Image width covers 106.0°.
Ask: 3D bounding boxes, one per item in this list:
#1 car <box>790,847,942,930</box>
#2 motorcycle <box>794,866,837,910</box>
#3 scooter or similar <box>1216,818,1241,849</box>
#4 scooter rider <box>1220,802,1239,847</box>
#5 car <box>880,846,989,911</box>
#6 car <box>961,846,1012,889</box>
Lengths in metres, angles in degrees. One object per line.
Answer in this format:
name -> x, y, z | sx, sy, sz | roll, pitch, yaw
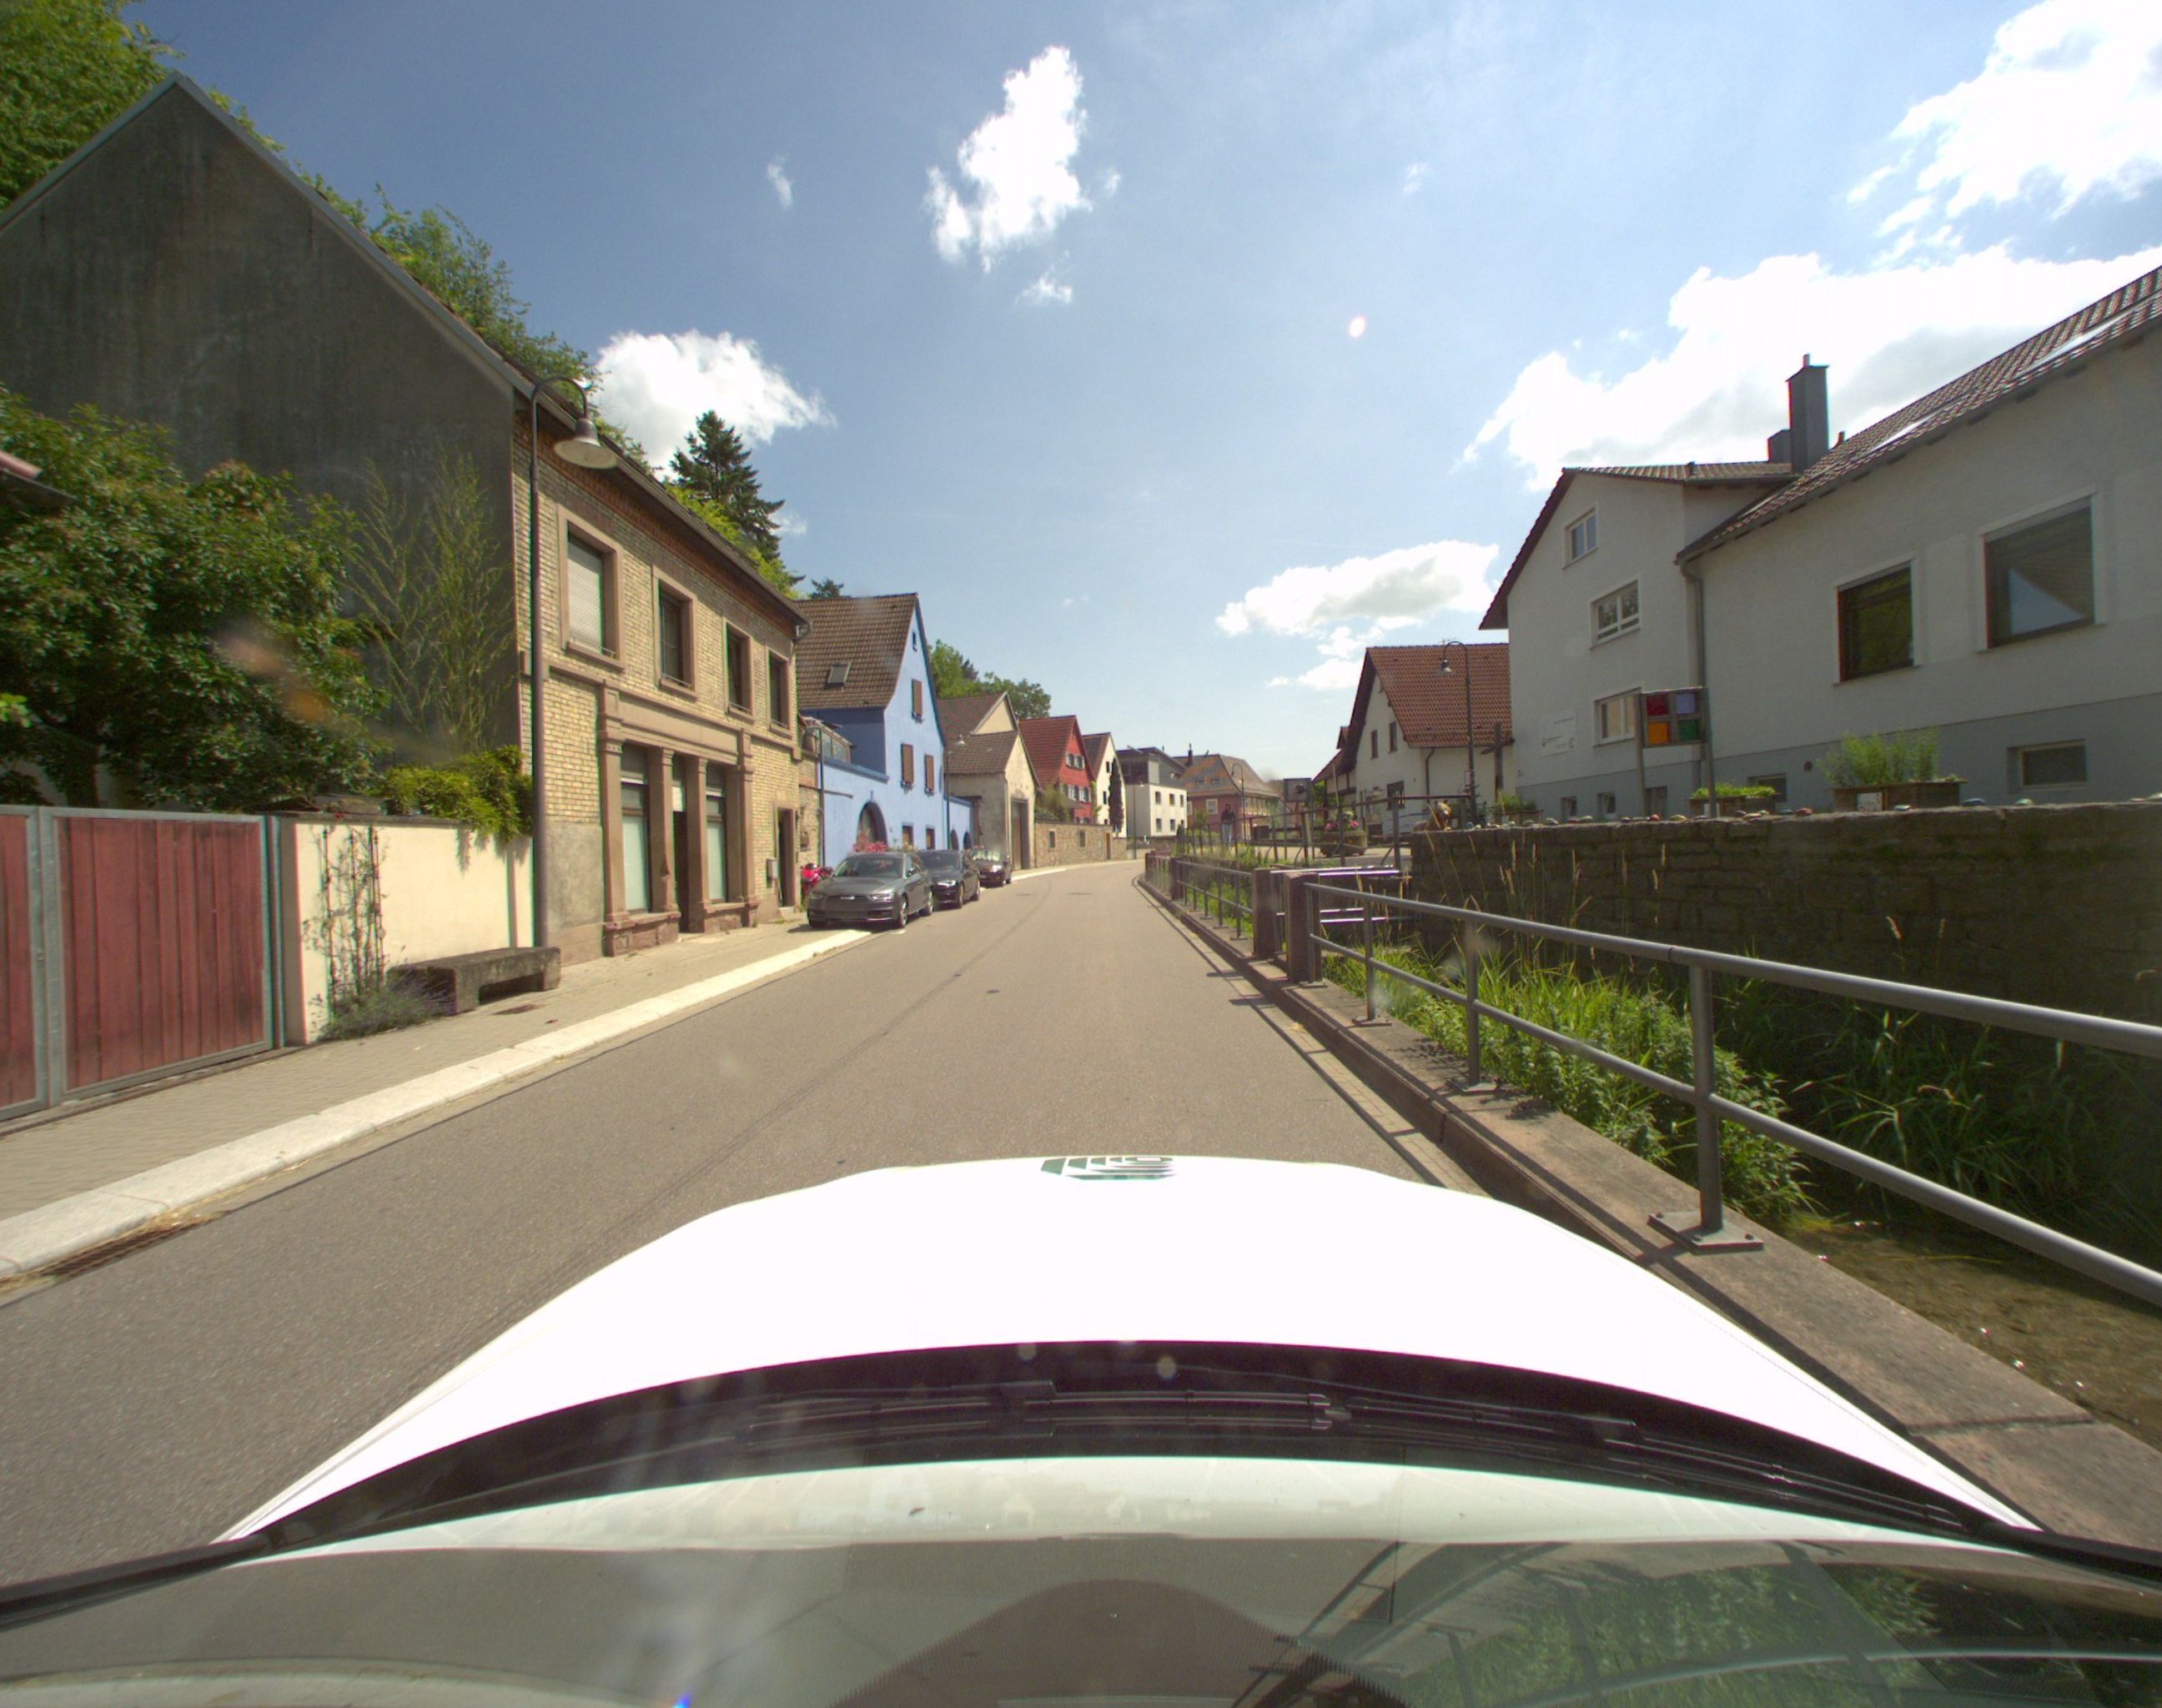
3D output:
car -> -4.296, 0.638, 17.083 | 1.950, 1.465, 4.545 | -1, 0, 0
motorcycle -> -6.580, 0.819, 20.276 | 0.416, 1.001, 1.858 | 3, 0, -1
scooter or similar -> 5.817, -0.794, 32.243 | 0.639, 1.142, 1.812 | -3, 0, 2
scooter rider -> 5.825, -1.154, 32.049 | 0.639, 1.731, 0.554 | -1, 0, 1
car -> -3.809, 0.573, 22.012 | 1.878, 1.464, 4.671 | 1, 1, 2
car -> -3.684, 0.492, 32.311 | 1.713, 1.530, 3.852 | -2, 1, -3
